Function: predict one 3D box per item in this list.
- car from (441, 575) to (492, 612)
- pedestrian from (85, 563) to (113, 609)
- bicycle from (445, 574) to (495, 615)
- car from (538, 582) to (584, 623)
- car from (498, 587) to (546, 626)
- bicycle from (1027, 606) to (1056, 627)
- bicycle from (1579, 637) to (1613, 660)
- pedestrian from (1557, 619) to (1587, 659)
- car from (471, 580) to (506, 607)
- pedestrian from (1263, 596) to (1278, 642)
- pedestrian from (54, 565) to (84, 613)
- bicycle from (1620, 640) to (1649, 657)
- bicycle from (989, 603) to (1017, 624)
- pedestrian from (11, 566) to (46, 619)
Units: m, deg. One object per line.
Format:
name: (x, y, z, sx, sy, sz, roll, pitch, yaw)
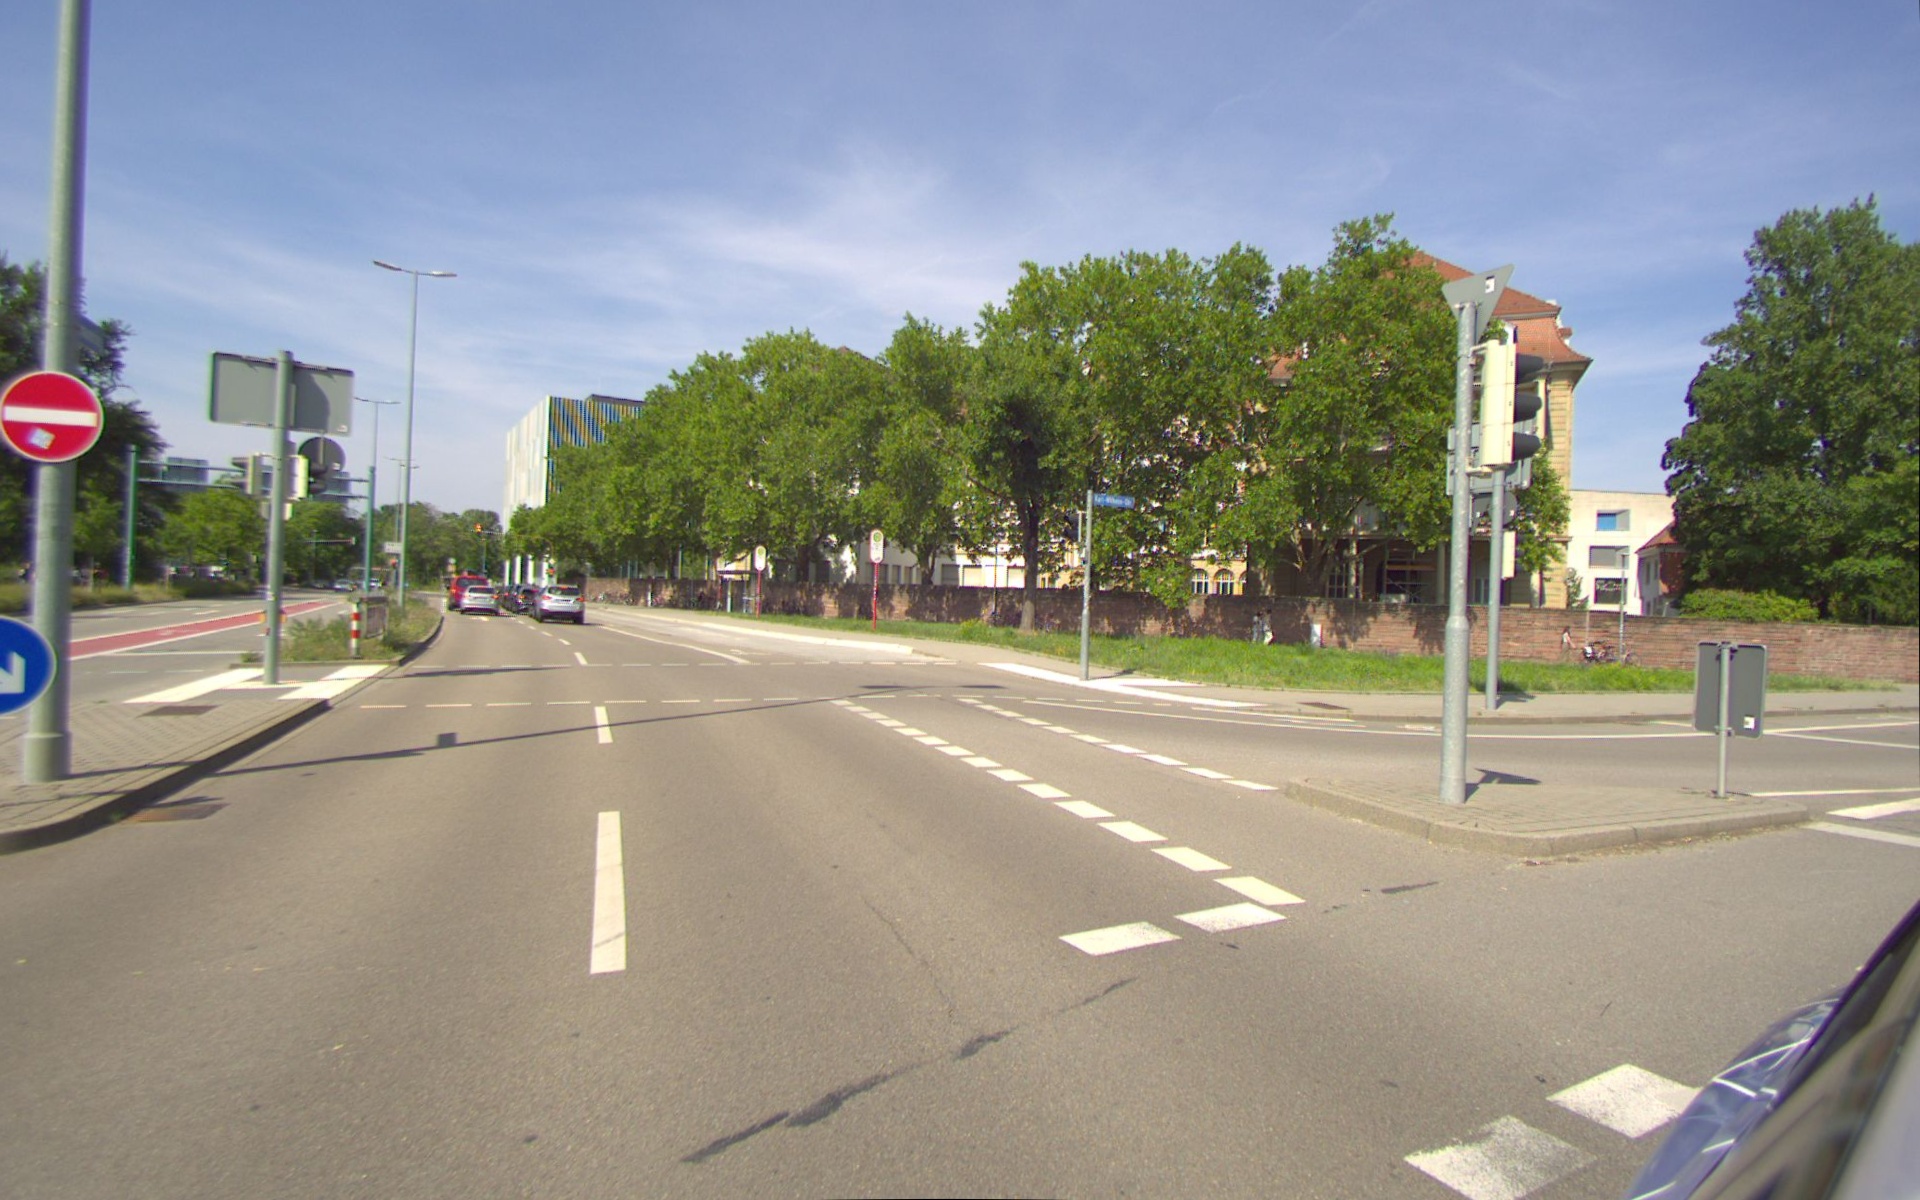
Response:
car: (-26.446, -0.389, 54.172, 1.940, 1.820, 4.615, 2, 0, -31)
pedestrian: (-48.632, -0.781, 57.165, 0.935, 2.567, 1.125, 2, -3, -30)
bicycle: (-23.619, -0.288, 48.713, 1.959, 1.838, 4.005, 2, 0, -29)
car: (-17.211, 0.074, 43.560, 1.675, 1.638, 4.226, 2, 0, -23)
car: (-23.805, 0.389, 54.960, 1.959, 2.040, 4.004, 2, -2, -29)
bicycle: (4.275, 0.868, 53.152, 1.438, 1.046, 0.442, 3, 0, 34)
bicycle: (25.777, 1.964, 41.020, 1.202, 0.894, 0.395, 2, 0, -11)
pedestrian: (24.670, 1.574, 40.788, 0.903, 1.567, 0.499, 2, 0, 23)
car: (-38.433, -0.516, 82.455, 1.961, 2.040, 4.000, 2, -2, -33)
pedestrian: (13.785, 0.837, 44.966, 0.588, 2.039, 0.520, 2, 0, 18)
pedestrian: (-49.184, -0.606, 55.891, 0.935, 2.567, 1.125, 2, -3, -30)
bicycle: (27.335, 1.958, 41.008, 0.932, 0.609, 0.274, 2, 0, 8)
bicycle: (2.309, 0.718, 54.483, 1.438, 1.046, 0.442, 3, 0, 34)
pedestrian: (-46.520, -0.355, 50.553, 0.935, 2.567, 1.125, 2, -3, -30)
